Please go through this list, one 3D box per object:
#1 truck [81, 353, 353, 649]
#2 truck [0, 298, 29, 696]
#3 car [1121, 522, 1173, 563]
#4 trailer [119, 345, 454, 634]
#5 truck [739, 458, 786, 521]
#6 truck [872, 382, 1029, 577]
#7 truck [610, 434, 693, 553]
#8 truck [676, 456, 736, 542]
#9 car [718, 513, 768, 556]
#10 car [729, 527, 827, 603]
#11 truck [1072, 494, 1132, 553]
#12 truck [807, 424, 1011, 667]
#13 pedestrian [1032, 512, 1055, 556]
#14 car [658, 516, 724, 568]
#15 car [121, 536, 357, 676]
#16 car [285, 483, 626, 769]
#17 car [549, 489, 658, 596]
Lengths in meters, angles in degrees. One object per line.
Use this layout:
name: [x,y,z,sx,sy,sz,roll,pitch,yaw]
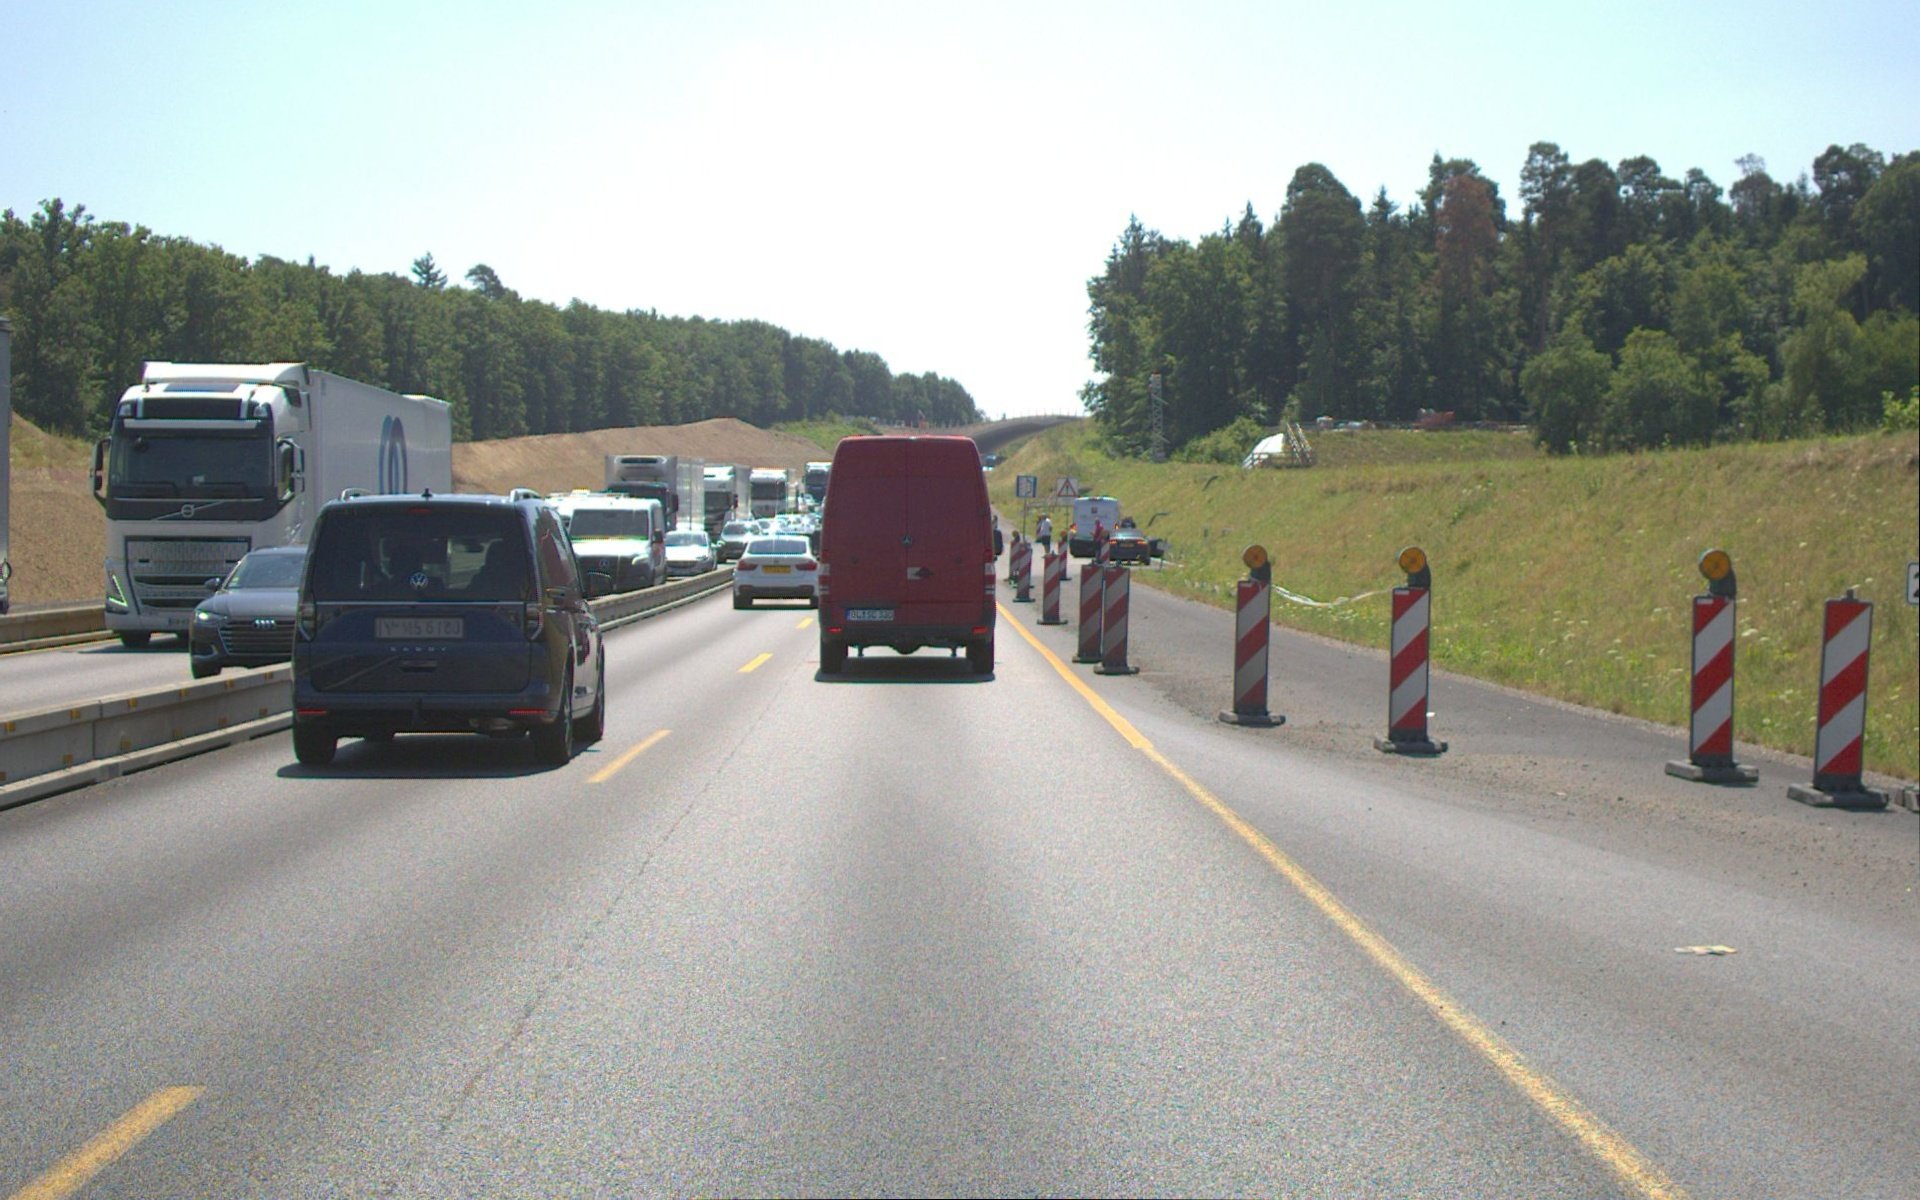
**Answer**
truck: [-10.610,-1.386,49.524,2.848,4.004,4.859,-1,1,-1]
truck: [-10.225,-0.925,28.245,2.644,3.703,9.483,1,1,-1]
car: [7.046,-2.190,129.607,1.654,1.422,4.545,-2,2,0]
trailer: [-10.616,-1.660,55.874,2.854,4.079,13.653,-1,1,-1]
truck: [-12.968,-7.245,226.124,2.768,4.030,4.943,1,1,0]
truck: [-0.342,-3.517,105.792,4.400,5.477,16.604,1,1,-1]
truck: [-11.252,-3.858,125.688,2.491,4.184,5.912,-1,1,-1]
truck: [-12.206,-4.872,165.696,2.591,4.039,5.150,1,1,-1]
car: [-8.316,-2.494,132.063,1.688,1.608,4.594,1,1,-1]
car: [-3.734,-0.728,70.903,1.831,1.517,3.961,1,1,-1]
truck: [6.130,-3.315,147.606,2.130,2.448,5.924,1,2,6]
truck: [-0.628,-0.617,39.558,2.153,2.581,5.334,1,1,-2]
pedestrian: [3.495,-2.771,144.088,0.723,1.822,0.720,1,1,-17]
car: [-7.905,-1.704,101.268,1.688,1.496,3.977,1,1,-1]
car: [-7.902,0.038,38.051,1.857,1.437,4.502,1,1,-3]
car: [-3.480,0.098,24.513,1.751,1.818,4.783,1,2,-1]
car: [-7.960,-1.328,77.171,1.993,2.284,5.344,1,2,-1]
